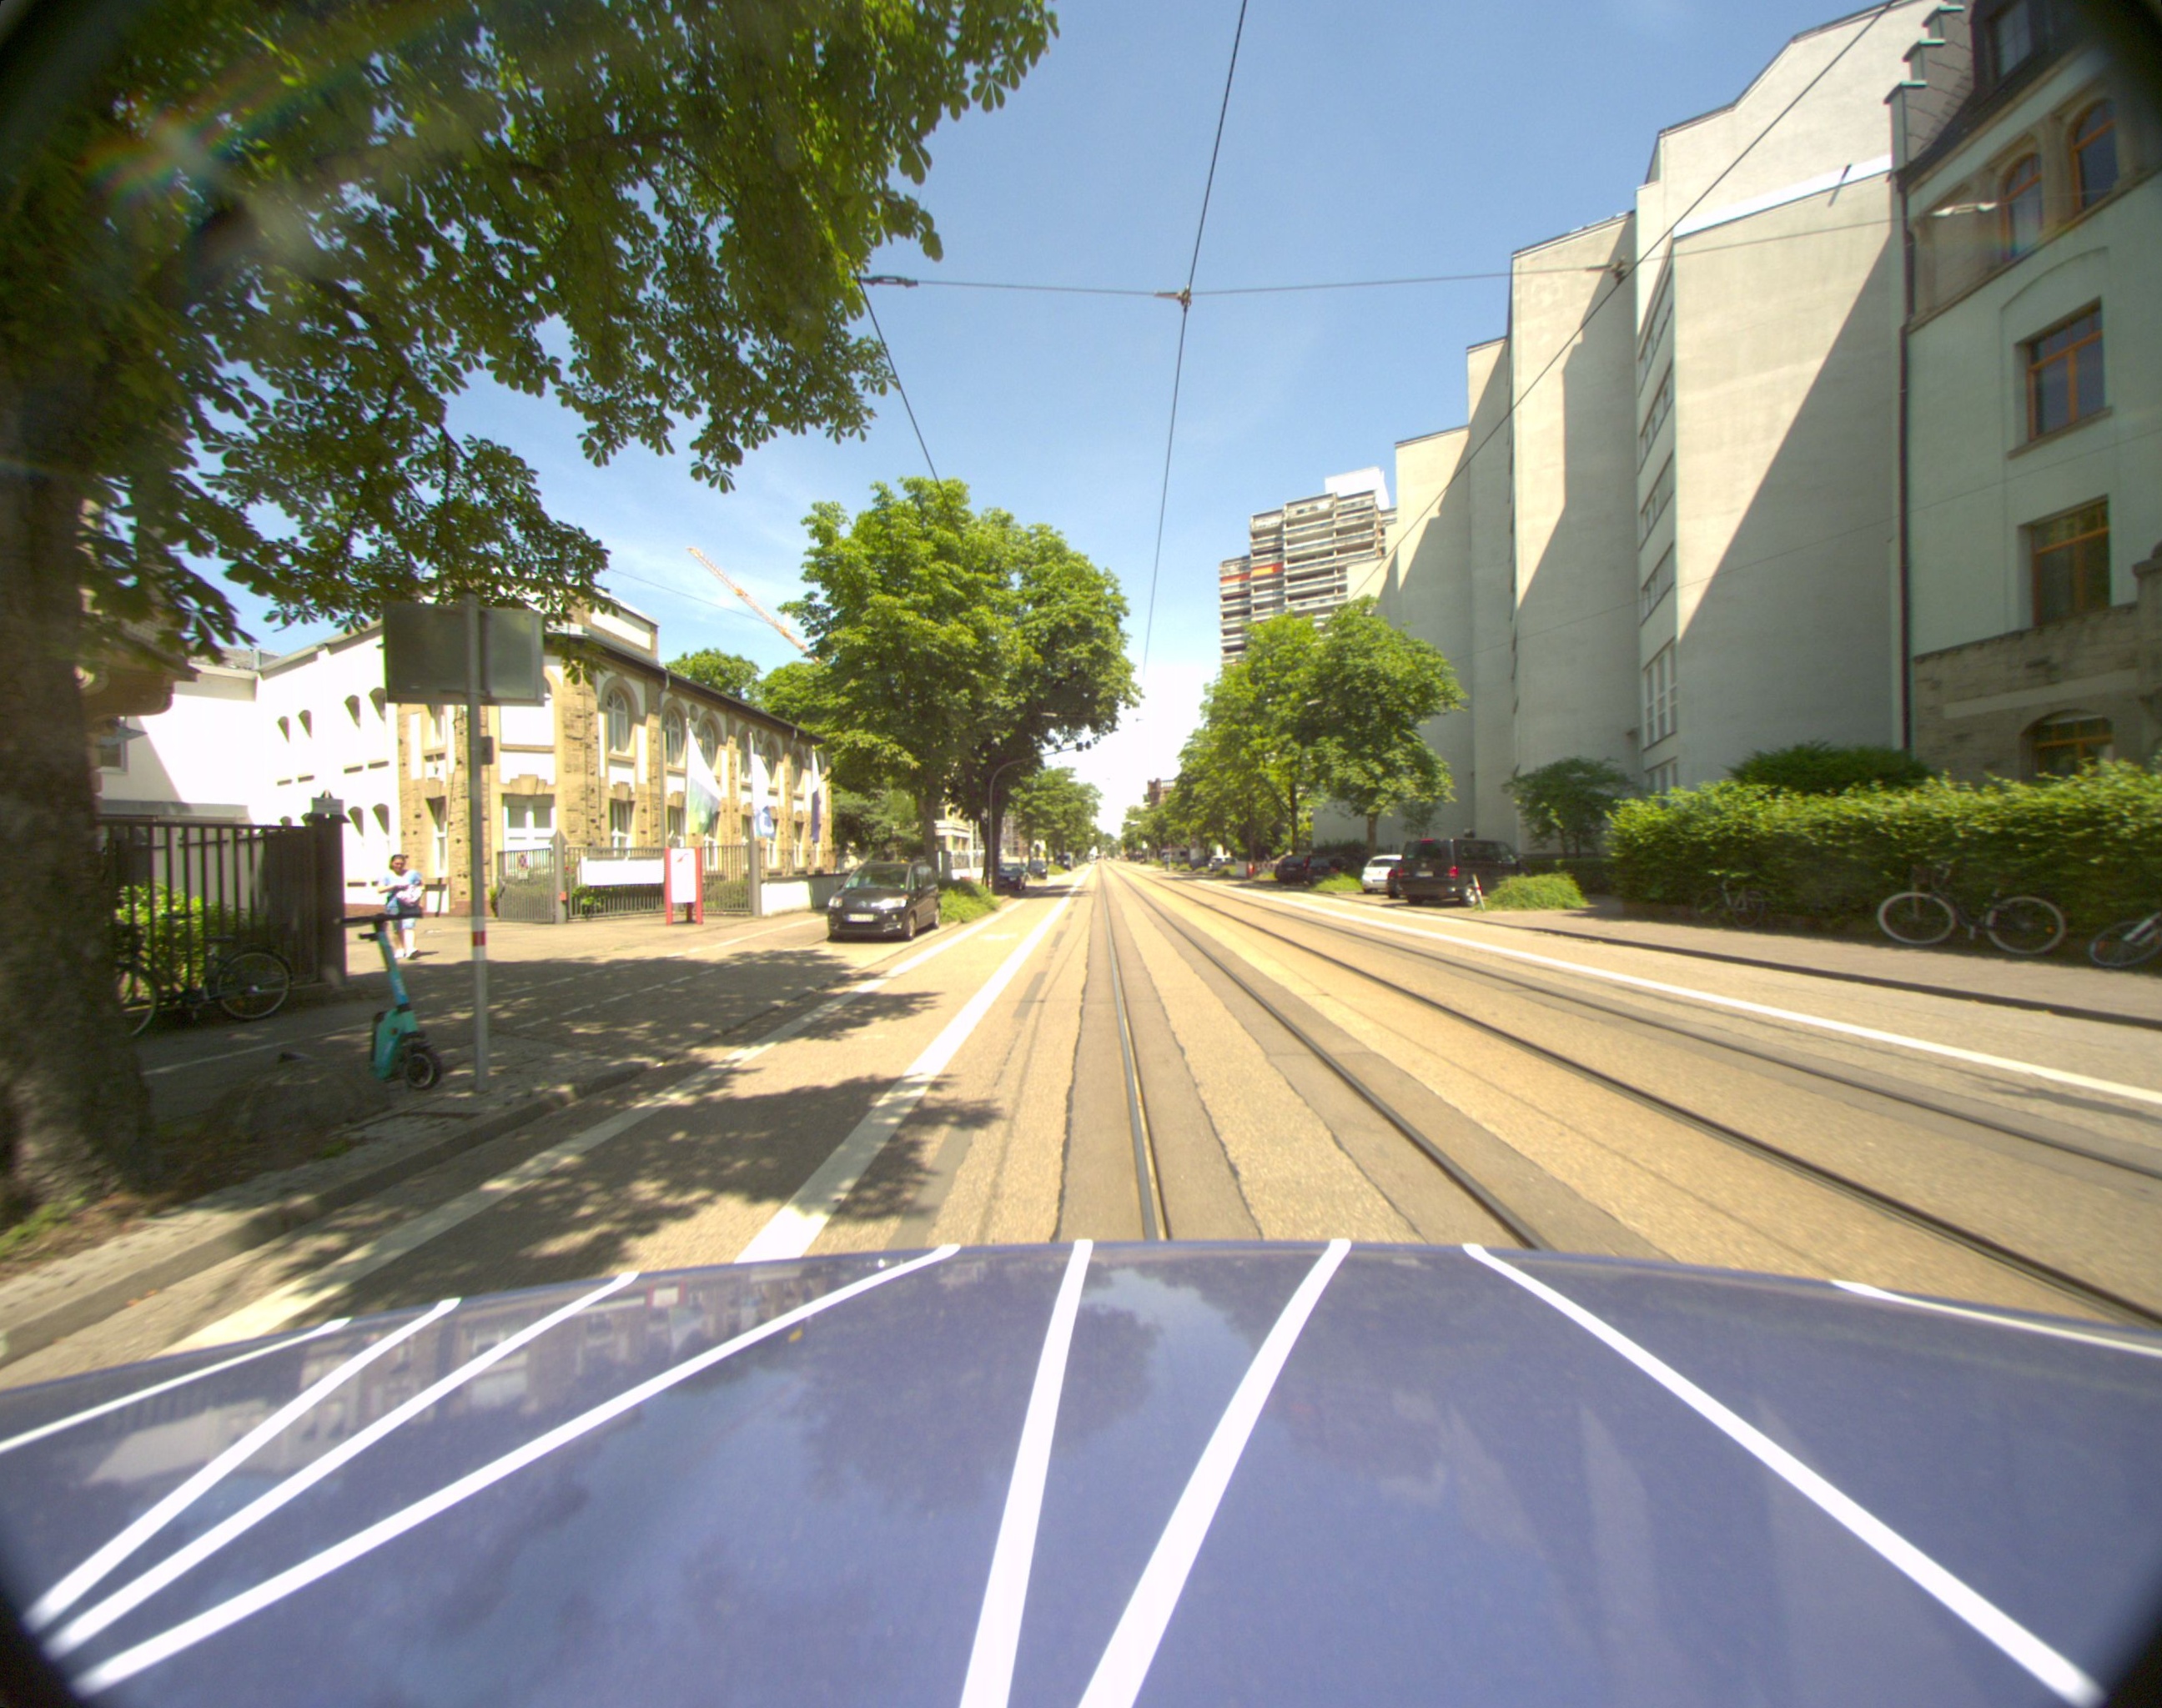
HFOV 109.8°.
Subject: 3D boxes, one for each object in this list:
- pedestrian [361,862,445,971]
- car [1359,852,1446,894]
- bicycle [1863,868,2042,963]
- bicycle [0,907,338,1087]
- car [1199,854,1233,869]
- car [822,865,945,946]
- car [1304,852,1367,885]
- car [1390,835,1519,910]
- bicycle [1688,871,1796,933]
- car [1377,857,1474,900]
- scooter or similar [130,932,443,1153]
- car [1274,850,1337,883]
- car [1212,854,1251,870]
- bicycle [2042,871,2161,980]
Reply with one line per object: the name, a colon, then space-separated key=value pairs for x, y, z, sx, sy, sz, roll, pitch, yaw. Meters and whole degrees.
pedestrian: x=-10.589 y=0.959 z=11.885 sx=0.669 sy=1.627 sz=0.665 roll=-2 pitch=1 yaw=18
car: x=12.387 y=0.691 z=29.170 sx=1.735 sy=1.417 sz=3.898 roll=-1 pitch=0 yaw=44
bicycle: x=11.150 y=0.738 z=9.808 sx=0.340 sy=1.062 sz=1.728 roll=-2 pitch=1 yaw=1
bicycle: x=-8.279 y=1.198 z=7.001 sx=0.688 sy=1.217 sz=2.119 roll=-2 pitch=1 yaw=1
car: x=12.283 y=0.666 z=69.096 sx=3.316 sy=1.293 sz=1.361 roll=-2 pitch=0 yaw=-43
car: x=-4.227 y=1.032 z=16.897 sx=1.647 sy=1.587 sz=4.115 roll=0 pitch=-1 yaw=0
car: x=12.103 y=0.676 z=36.085 sx=1.488 sy=1.391 sz=3.287 roll=-1 pitch=1 yaw=45
car: x=11.088 y=0.478 z=22.491 sx=3.915 sy=1.958 sz=1.908 roll=-3 pitch=1 yaw=-39
bicycle: x=11.359 y=0.794 z=13.124 sx=0.340 sy=0.935 sz=1.728 roll=-4 pitch=0 yaw=1
car: x=11.671 y=0.783 z=25.680 sx=3.568 sy=1.232 sz=1.518 roll=-3 pitch=1 yaw=-39
scooter or similar: x=-5.085 y=1.177 z=4.931 sx=1.378 sy=1.225 sz=0.375 roll=-2 pitch=1 yaw=-12
car: x=11.574 y=0.598 z=39.023 sx=1.636 sy=1.540 sz=3.815 roll=-1 pitch=0 yaw=40
car: x=12.931 y=0.684 z=65.353 sx=3.490 sy=1.259 sz=1.492 roll=-2 pitch=0 yaw=-43
bicycle: x=11.103 y=0.739 z=7.787 sx=0.340 sy=1.062 sz=1.728 roll=-2 pitch=1 yaw=1
